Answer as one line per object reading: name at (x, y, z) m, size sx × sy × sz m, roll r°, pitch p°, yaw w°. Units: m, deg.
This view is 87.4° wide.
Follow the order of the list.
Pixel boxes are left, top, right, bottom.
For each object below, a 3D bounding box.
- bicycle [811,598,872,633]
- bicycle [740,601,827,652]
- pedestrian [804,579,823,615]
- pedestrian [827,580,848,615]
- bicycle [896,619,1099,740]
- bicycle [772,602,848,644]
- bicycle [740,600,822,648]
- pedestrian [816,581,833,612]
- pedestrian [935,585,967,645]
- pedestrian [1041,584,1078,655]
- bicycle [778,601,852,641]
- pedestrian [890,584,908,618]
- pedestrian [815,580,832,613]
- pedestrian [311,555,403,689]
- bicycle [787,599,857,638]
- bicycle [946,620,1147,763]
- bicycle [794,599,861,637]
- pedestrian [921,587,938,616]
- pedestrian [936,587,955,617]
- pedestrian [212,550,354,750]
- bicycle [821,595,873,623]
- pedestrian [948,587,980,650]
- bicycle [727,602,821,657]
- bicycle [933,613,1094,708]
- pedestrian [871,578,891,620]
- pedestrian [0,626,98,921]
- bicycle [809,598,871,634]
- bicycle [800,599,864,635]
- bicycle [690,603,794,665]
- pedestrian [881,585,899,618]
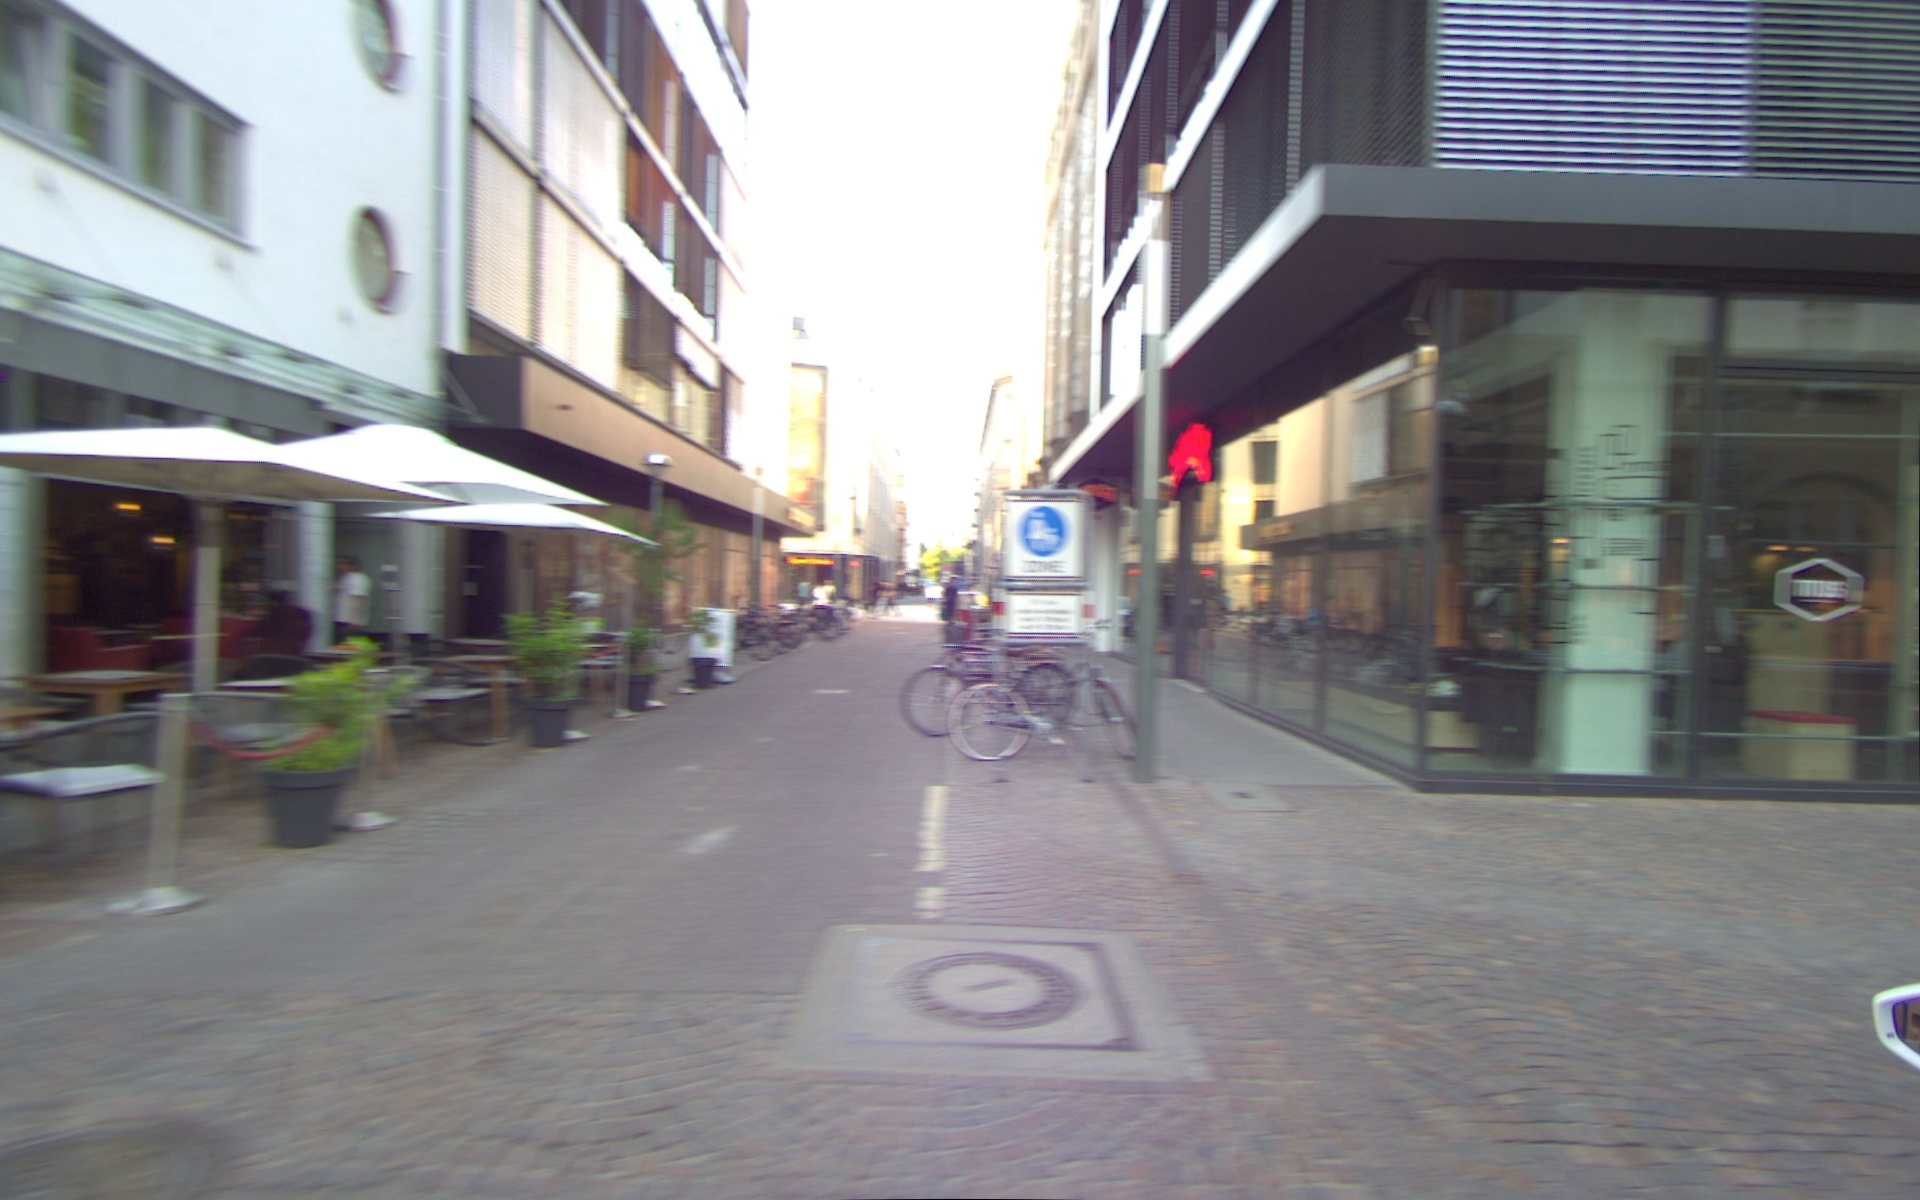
bicycle at (-4.158, 0.538, 35.337) m, size 2.014 × 1.110 × 0.467 m, roll 3°, pitch 1°, yaw -1°
bicycle at (-4.178, 0.629, 23.819) m, size 1.915 × 1.089 × 0.467 m, roll 3°, pitch 1°, yaw -1°
pedestrian at (-7.844, -0.150, 53.930) m, size 0.889 × 1.884 × 0.835 m, roll 1°, pitch 1°, yaw -1°
pedestrian at (-6.628, -0.142, 54.509) m, size 1.008 × 1.884 × 0.906 m, roll 1°, pitch 1°, yaw -1°
bicycle at (0.370, 0.782, 10.102) m, size 1.976 × 1.136 × 0.467 m, roll -1°, pitch 1°, yaw -1°
bicycle at (-4.182, 0.641, 28.110) m, size 2.014 × 1.030 × 0.467 m, roll 3°, pitch 1°, yaw -1°
bicycle at (-4.464, 0.592, 25.119) m, size 1.915 × 1.089 × 0.467 m, roll 3°, pitch 1°, yaw -1°
pedestrian at (-8.167, -0.217, 60.754) m, size 0.889 × 1.884 × 0.835 m, roll 1°, pitch 1°, yaw -1°
pedestrian at (-0.253, 0.425, 29.310) m, size 0.884 × 1.683 × 0.930 m, roll 1°, pitch 1°, yaw 1°
pedestrian at (2.274, 0.426, 23.071) m, size 0.784 × 1.586 × 0.859 m, roll 1°, pitch 1°, yaw 2°
bicycle at (-4.214, 0.606, 29.236) m, size 2.014 × 1.030 × 0.467 m, roll 3°, pitch 1°, yaw -1°
pedestrian at (-3.091, 0.029, 50.819) m, size 0.889 × 1.683 × 0.793 m, roll 1°, pitch 1°, yaw -3°
pedestrian at (-8.095, -0.208, 59.701) m, size 0.889 × 1.884 × 0.835 m, roll 1°, pitch 1°, yaw -1°
pedestrian at (-7.832, 0.273, 13.085) m, size 0.845 × 1.681 × 0.797 m, roll 1°, pitch 1°, yaw -17°
bicycle at (-4.210, 0.575, 30.727) m, size 2.014 × 1.064 × 0.467 m, roll 3°, pitch 1°, yaw -1°
bicycle at (0.726, 0.772, 8.638) m, size 1.669 × 1.151 × 0.467 m, roll -1°, pitch 1°, yaw -1°
bicycle at (-4.219, 0.563, 32.003) m, size 2.014 × 1.064 × 0.467 m, roll 3°, pitch 1°, yaw -1°
pedestrian at (-1.827, 0.084, 60.257) m, size 0.847 × 1.757 × 0.934 m, roll 1°, pitch 1°, yaw 8°
pedestrian at (-0.848, 0.095, 59.632) m, size 0.992 × 1.757 × 0.982 m, roll 1°, pitch 1°, yaw 8°
pedestrian at (-5.901, 0.418, 8.797) m, size 0.778 × 1.671 × 0.725 m, roll 1°, pitch 1°, yaw -6°
bicycle at (-4.662, 0.370, 41.505) m, size 2.014 × 1.026 × 0.467 m, roll 3°, pitch 1°, yaw -1°
pedestrian at (0.100, 0.458, 25.555) m, size 0.784 × 1.586 × 0.859 m, roll 1°, pitch 1°, yaw 0°
bicycle at (-4.086, 0.645, 22.101) m, size 1.915 × 1.089 × 0.467 m, roll 3°, pitch 1°, yaw -1°
bicycle at (0.667, 0.759, 12.812) m, size 2.000 × 1.136 × 0.467 m, roll -1°, pitch 1°, yaw -1°
pedestrian at (-3.571, -0.058, 45.302) m, size 0.819 × 1.884 × 0.907 m, roll 1°, pitch 1°, yaw -2°
pedestrian at (-4.391, 0.725, 4.304) m, size 0.778 × 1.199 × 0.673 m, roll 2°, pitch 1°, yaw -6°
bicycle at (-4.132, 0.533, 34.552) m, size 2.014 × 1.110 × 0.467 m, roll 3°, pitch 1°, yaw -1°
bicycle at (-4.244, 0.554, 33.405) m, size 2.014 × 1.064 × 0.467 m, roll 3°, pitch 1°, yaw -1°
bicycle at (-4.314, 0.668, 19.963) m, size 1.915 × 1.089 × 0.467 m, roll 3°, pitch 1°, yaw -1°
pedestrian at (-3.568, 0.064, 51.525) m, size 0.889 × 1.683 × 0.793 m, roll 1°, pitch 1°, yaw -3°
